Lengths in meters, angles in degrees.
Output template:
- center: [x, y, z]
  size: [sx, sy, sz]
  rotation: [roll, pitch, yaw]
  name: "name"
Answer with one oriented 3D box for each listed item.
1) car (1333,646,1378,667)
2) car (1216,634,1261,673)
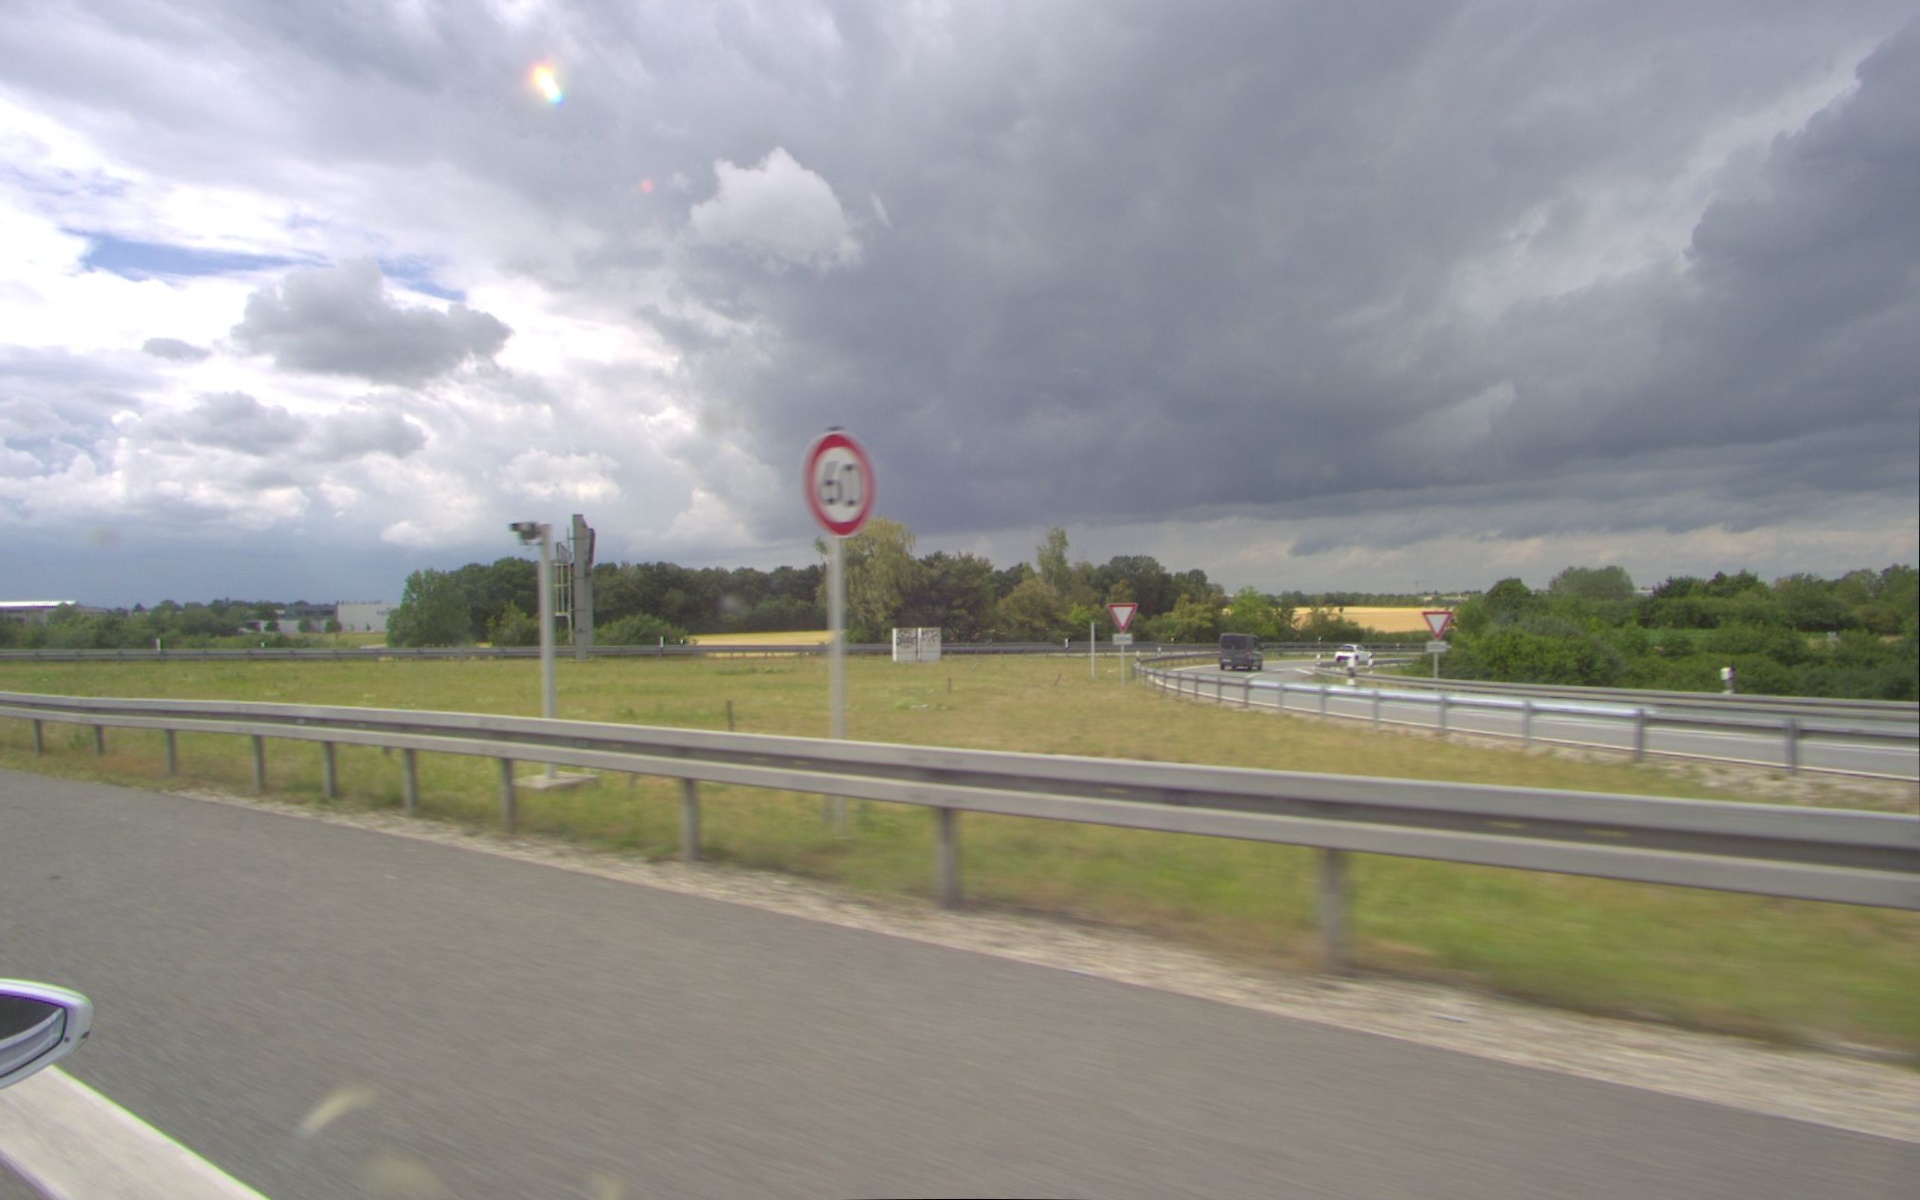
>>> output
- center: [33.479, 4.759, 84.707]
  size: [3.960, 1.731, 1.982]
  rotation: [2, -1, -42]
  name: "car"
- center: [17.700, 3.334, 63.428]
  size: [1.882, 2.291, 4.633]
  rotation: [1, -1, 27]
  name: "car"
